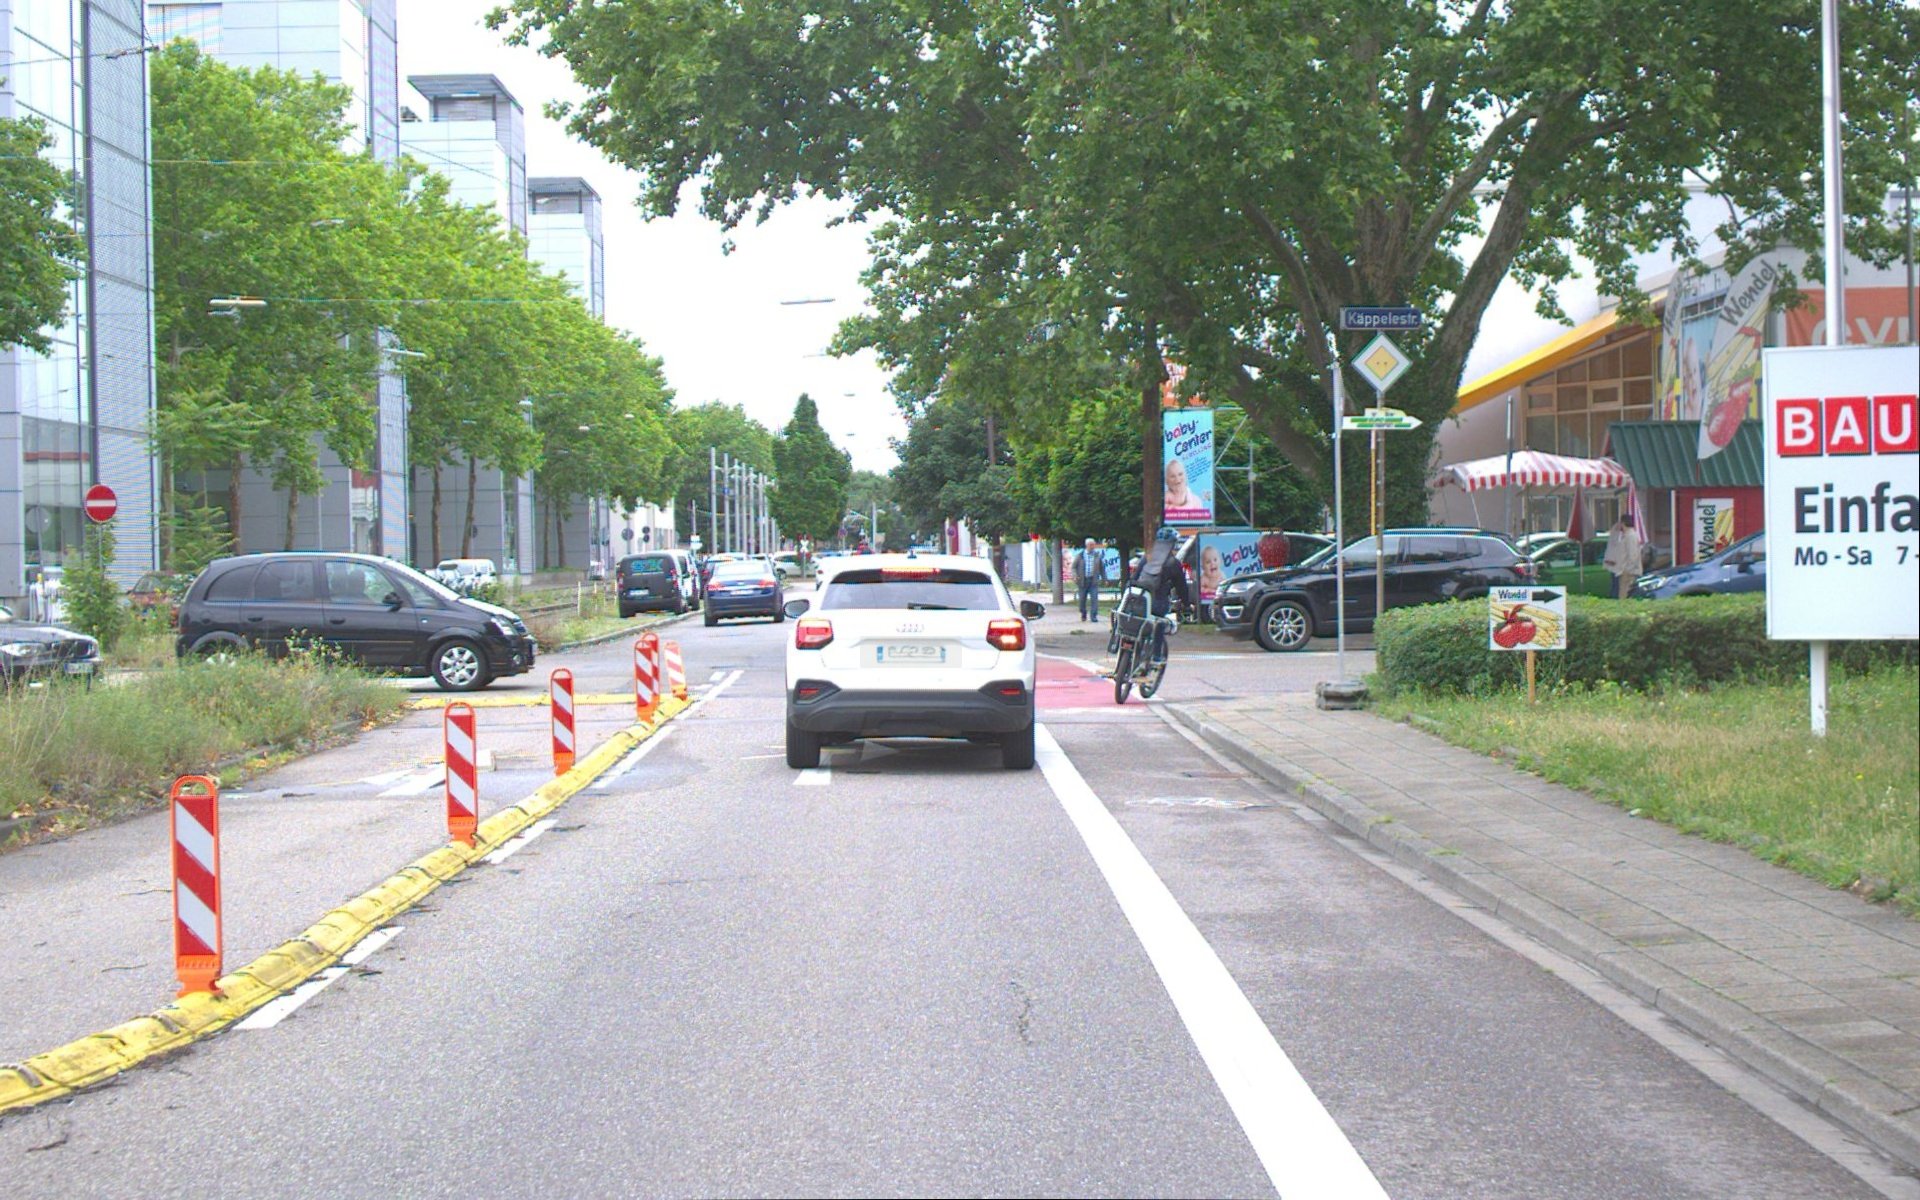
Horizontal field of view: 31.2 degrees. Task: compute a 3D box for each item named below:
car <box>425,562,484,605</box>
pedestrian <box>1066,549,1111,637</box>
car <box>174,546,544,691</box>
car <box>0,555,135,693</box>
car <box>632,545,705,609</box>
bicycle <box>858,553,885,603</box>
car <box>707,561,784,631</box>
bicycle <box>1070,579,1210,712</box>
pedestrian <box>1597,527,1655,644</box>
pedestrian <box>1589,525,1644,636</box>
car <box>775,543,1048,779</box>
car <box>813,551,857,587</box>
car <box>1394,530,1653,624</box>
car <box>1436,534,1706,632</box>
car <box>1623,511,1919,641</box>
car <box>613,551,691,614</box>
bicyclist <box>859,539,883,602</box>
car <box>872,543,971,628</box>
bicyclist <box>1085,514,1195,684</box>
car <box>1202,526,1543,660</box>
[{"bbox_3d":[-20.231,-0.658,137.718,1.877,1.627,4.206,-1,1,-2],"label":"car"},{"bbox_3d":[2.524,-0.139,67.676,0.760,1.699,0.681,-2,1,-6],"label":"pedestrian"},{"bbox_3d":[-6.777,0.196,39.043,3.883,1.550,1.825,1,0,-1],"label":"car"},{"bbox_3d":[-11.504,0.326,38.378,4.121,1.470,1.823,-2,-1,22],"label":"car"},{"bbox_3d":[-8.420,-0.688,99.596,1.877,1.757,4.000,-1,1,-2],"label":"car"},{"bbox_3d":[-2.551,-0.640,98.785,0.670,1.389,2.167,0,1,-4],"label":"bicycle"},{"bbox_3d":[-4.869,-0.111,77.913,1.684,1.508,3.706,0,1,-4],"label":"car"},{"bbox_3d":[1.790,0.425,33.778,0.817,1.208,2.681,-1,1,15],"label":"bicycle"},{"bbox_3d":[9.792,-0.219,50.538,0.679,1.699,0.598,-1,1,-3],"label":"pedestrian"},{"bbox_3d":[10.164,-0.308,53.242,0.679,1.699,0.598,-1,1,-3],"label":"pedestrian"},{"bbox_3d":[-0.434,0.391,25.505,1.823,1.595,3.776,0,1,-4],"label":"car"},{"bbox_3d":[-5.477,-1.357,150.677,1.795,1.508,3.706,0,1,-4],"label":"car"},{"bbox_3d":[9.931,-0.419,60.773,4.212,1.546,1.790,-1,1,-3],"label":"car"},{"bbox_3d":[10.394,-0.297,58.633,4.212,1.546,1.790,-1,1,-3],"label":"car"},{"bbox_3d":[11.283,-0.336,46.960,4.214,1.671,1.992,-1,1,7],"label":"car"},{"bbox_3d":[-8.388,-0.485,93.781,1.877,1.627,4.000,-1,1,-2],"label":"car"},{"bbox_3d":[-2.563,-0.843,98.892,0.670,1.809,0.760,0,1,-4],"label":"bicyclist"},{"bbox_3d":[-0.806,-0.323,70.018,1.877,1.627,4.000,-1,1,-2],"label":"car"},{"bbox_3d":[1.778,-0.021,33.770,0.817,1.624,1.234,-1,1,15],"label":"bicyclist"},{"bbox_3d":[5.509,-0.105,46.276,4.314,1.671,1.993,-1,1,0],"label":"car"}]
